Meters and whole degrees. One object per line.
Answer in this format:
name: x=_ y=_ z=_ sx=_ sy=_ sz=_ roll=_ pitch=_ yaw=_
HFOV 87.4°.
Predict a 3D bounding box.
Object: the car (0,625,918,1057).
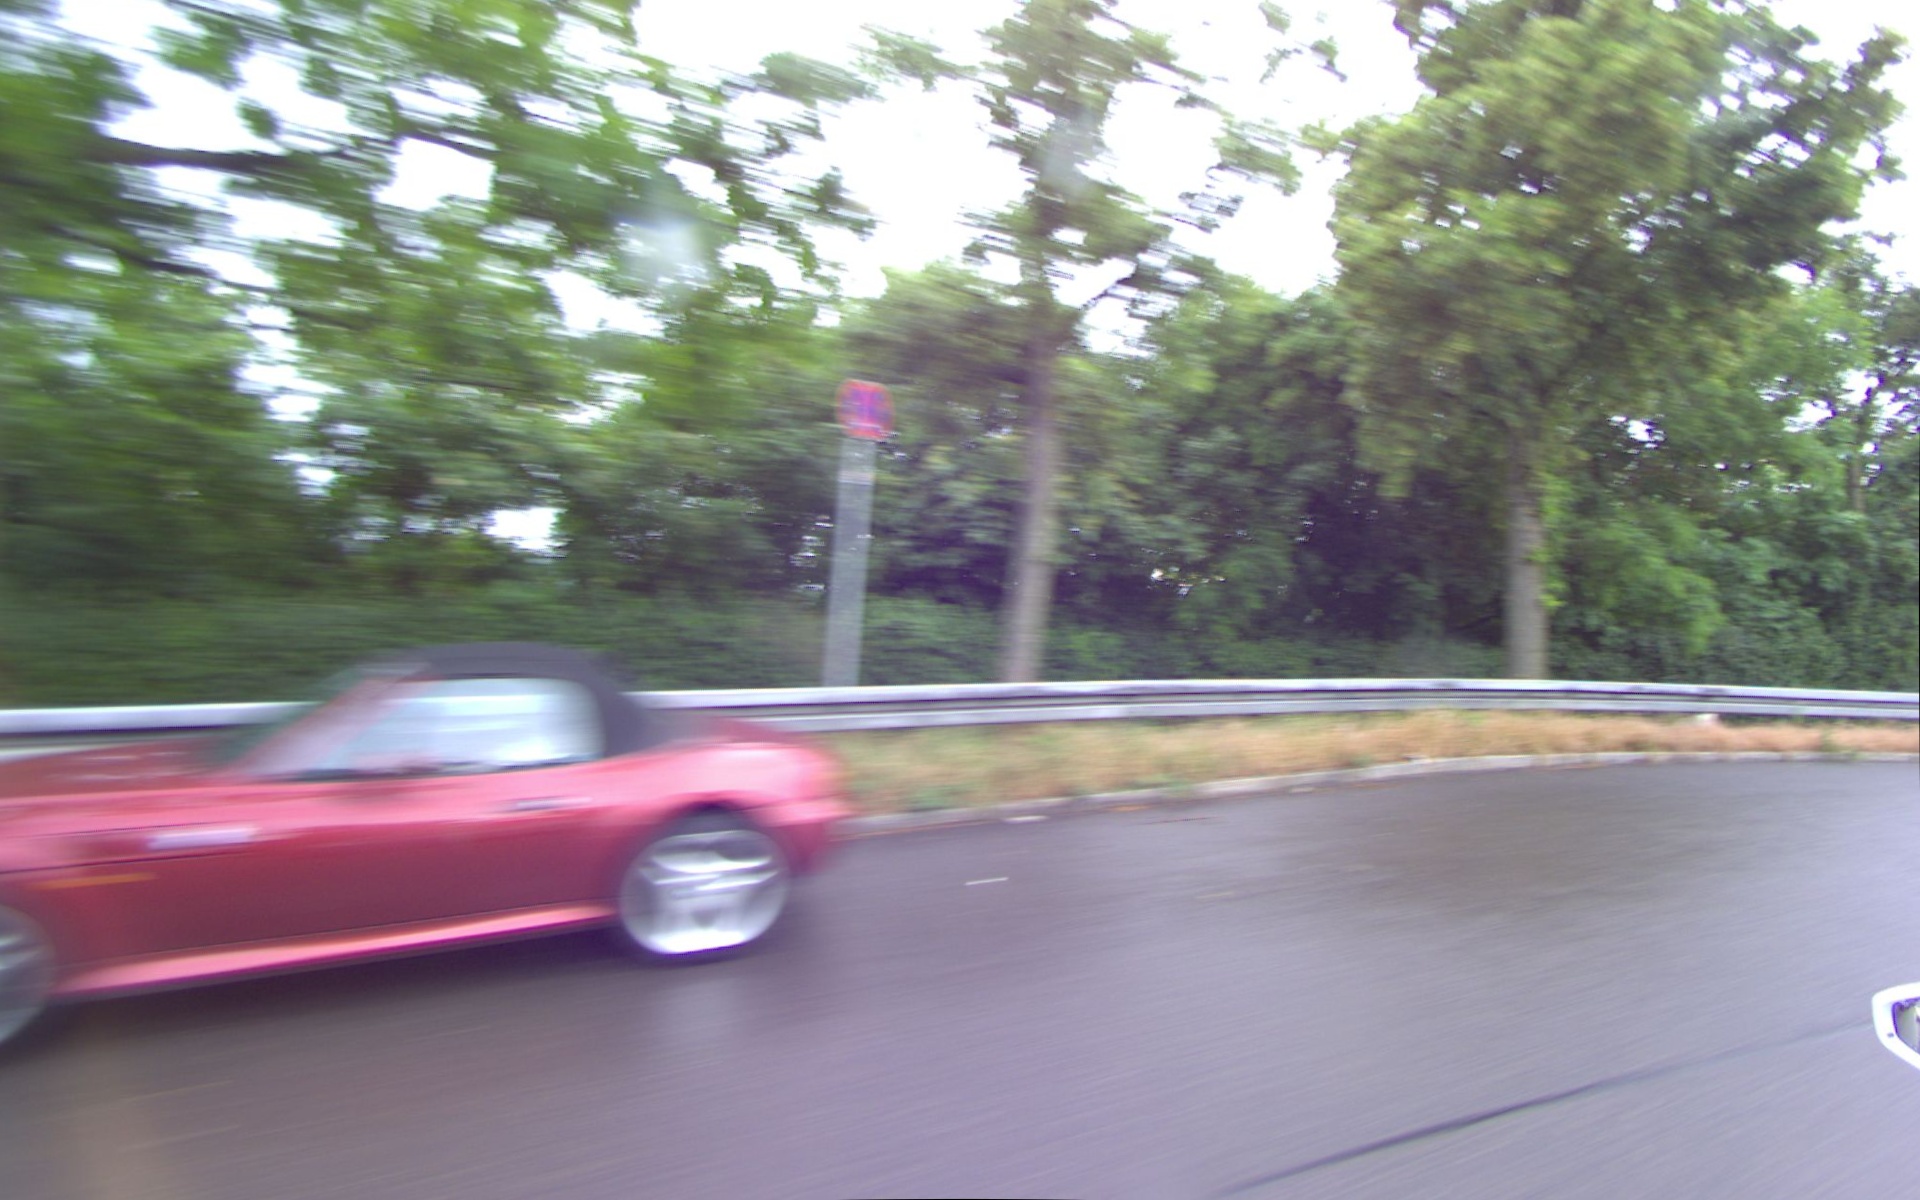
car: x=-2.488 y=0.793 z=4.335 sx=4.269 sy=1.314 sz=1.783 roll=2 pitch=-2 yaw=-27
